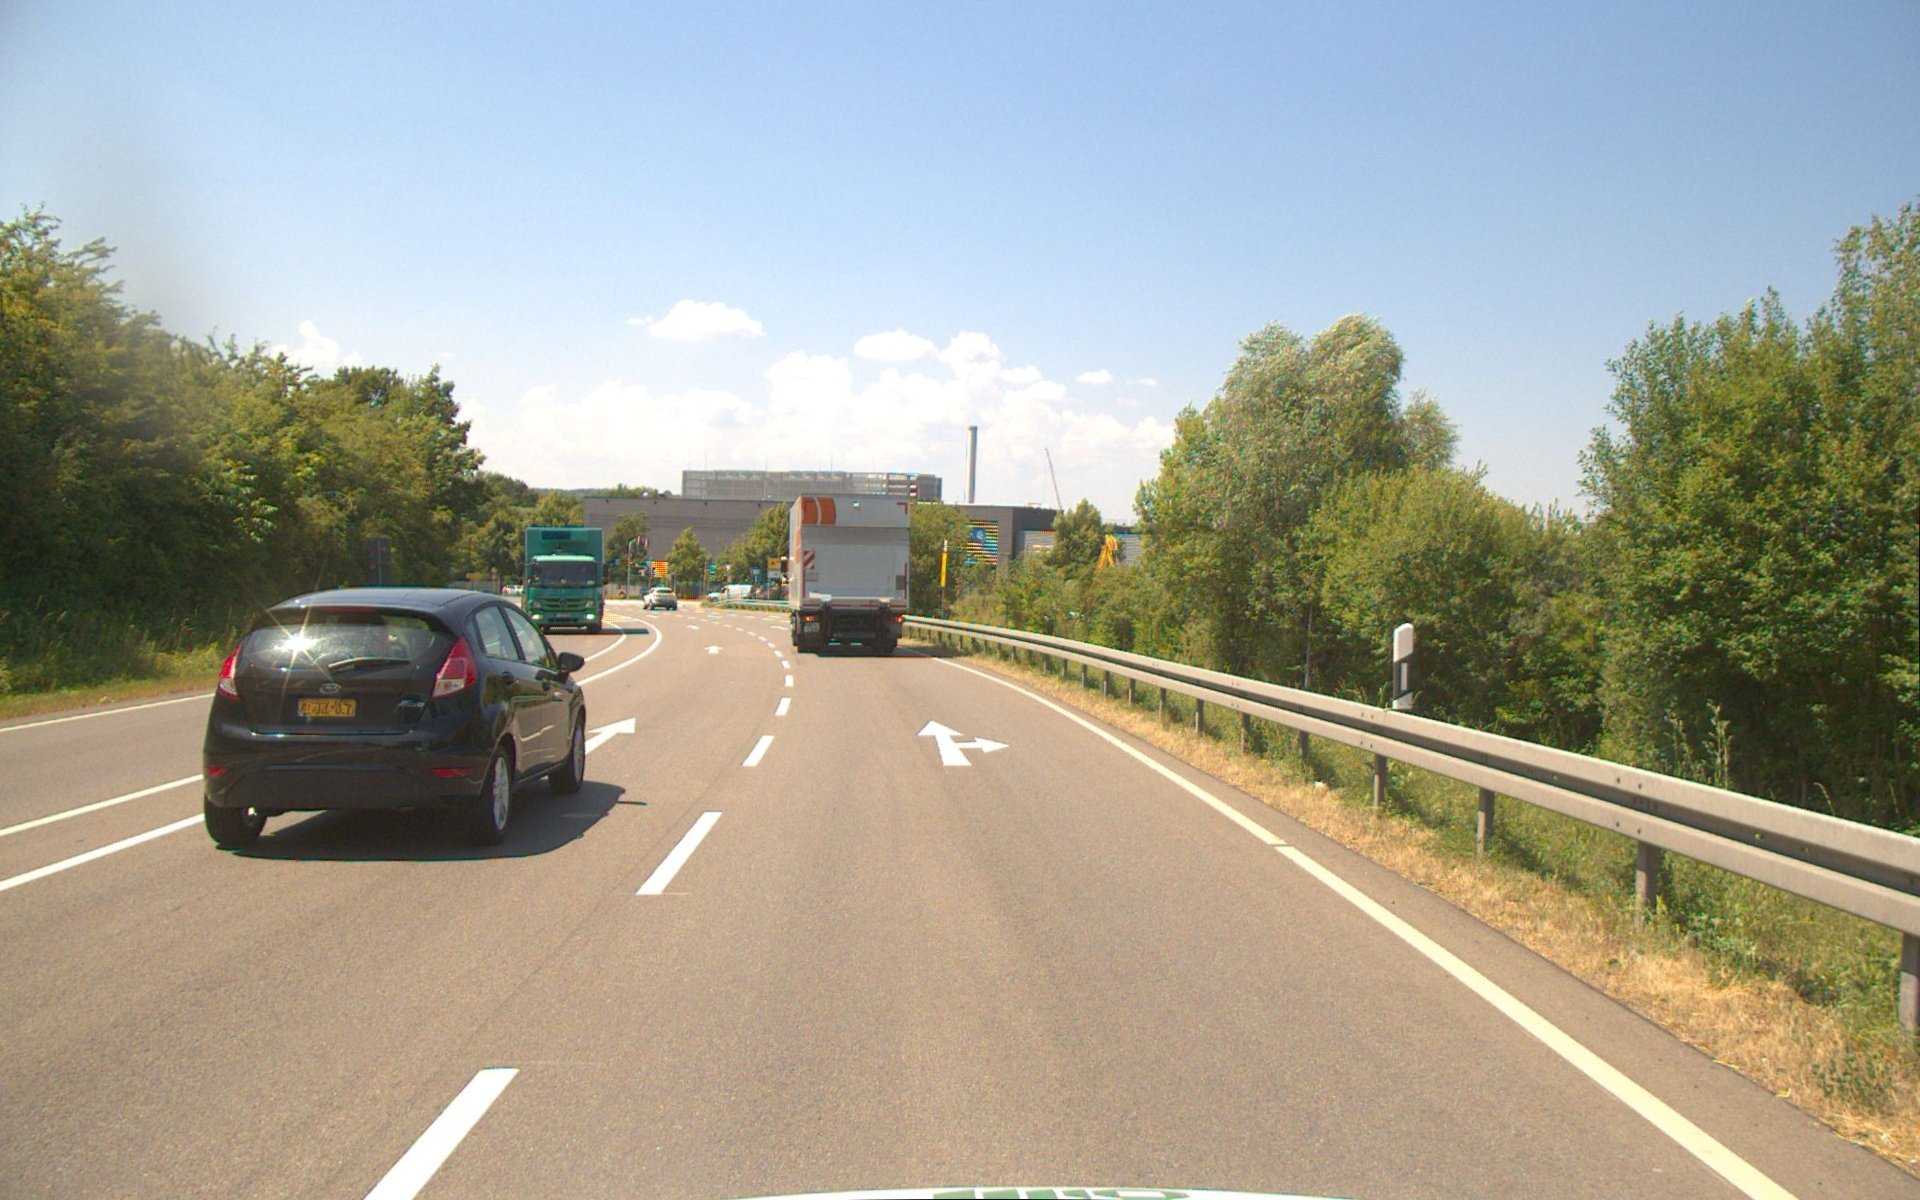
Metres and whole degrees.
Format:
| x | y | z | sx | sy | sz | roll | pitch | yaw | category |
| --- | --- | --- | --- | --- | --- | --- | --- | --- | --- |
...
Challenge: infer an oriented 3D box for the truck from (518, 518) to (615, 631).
| x | y | z | sx | sy | sz | roll | pitch | yaw | category |
| --- | --- | --- | --- | --- | --- | --- | --- | --- | --- |
| -13.598 | -0.862 | 57.736 | 2.817 | 3.636 | 9.406 | 0 | 1 | -11 | truck |

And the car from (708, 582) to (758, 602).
| x | y | z | sx | sy | sz | roll | pitch | yaw | category |
| --- | --- | --- | --- | --- | --- | --- | --- | --- | --- |
| -22.510 | -0.769 | 164.130 | 4.646 | 1.966 | 2.154 | 0 | 0 | 3 | car |

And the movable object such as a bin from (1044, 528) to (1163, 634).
| x | y | z | sx | sy | sz | roll | pitch | yaw | category |
| --- | --- | --- | --- | --- | --- | --- | --- | --- | --- |
| 7.798 | -1.161 | 91.447 | 3.368 | 5.351 | 9.194 | 2 | 2 | -15 | movable object such as a bin |

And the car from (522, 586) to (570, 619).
| x | y | z | sx | sy | sz | roll | pitch | yaw | category |
| --- | --- | --- | --- | --- | --- | --- | --- | --- | --- |
| -18.964 | 0.083 | 75.864 | 1.843 | 1.467 | 4.319 | 0 | 0 | -10 | car |

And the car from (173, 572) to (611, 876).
| x | y | z | sx | sy | sz | roll | pitch | yaw | category |
| --- | --- | --- | --- | --- | --- | --- | --- | --- | --- |
| -3.419 | 0.622 | 10.780 | 1.620 | 1.519 | 4.205 | 1 | 2 | -4 | car |

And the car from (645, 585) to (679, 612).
| x | y | z | sx | sy | sz | roll | pitch | yaw | category |
| --- | --- | --- | --- | --- | --- | --- | --- | --- | --- |
| -20.362 | -0.146 | 112.998 | 1.911 | 1.693 | 3.985 | 3 | 0 | -14 | car |

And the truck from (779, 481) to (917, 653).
| x | y | z | sx | sy | sz | roll | pitch | yaw | category |
| --- | --- | --- | --- | --- | --- | --- | --- | --- | --- |
| -2.983 | -0.819 | 41.454 | 2.751 | 3.775 | 9.092 | 1 | 1 | -8 | truck |
